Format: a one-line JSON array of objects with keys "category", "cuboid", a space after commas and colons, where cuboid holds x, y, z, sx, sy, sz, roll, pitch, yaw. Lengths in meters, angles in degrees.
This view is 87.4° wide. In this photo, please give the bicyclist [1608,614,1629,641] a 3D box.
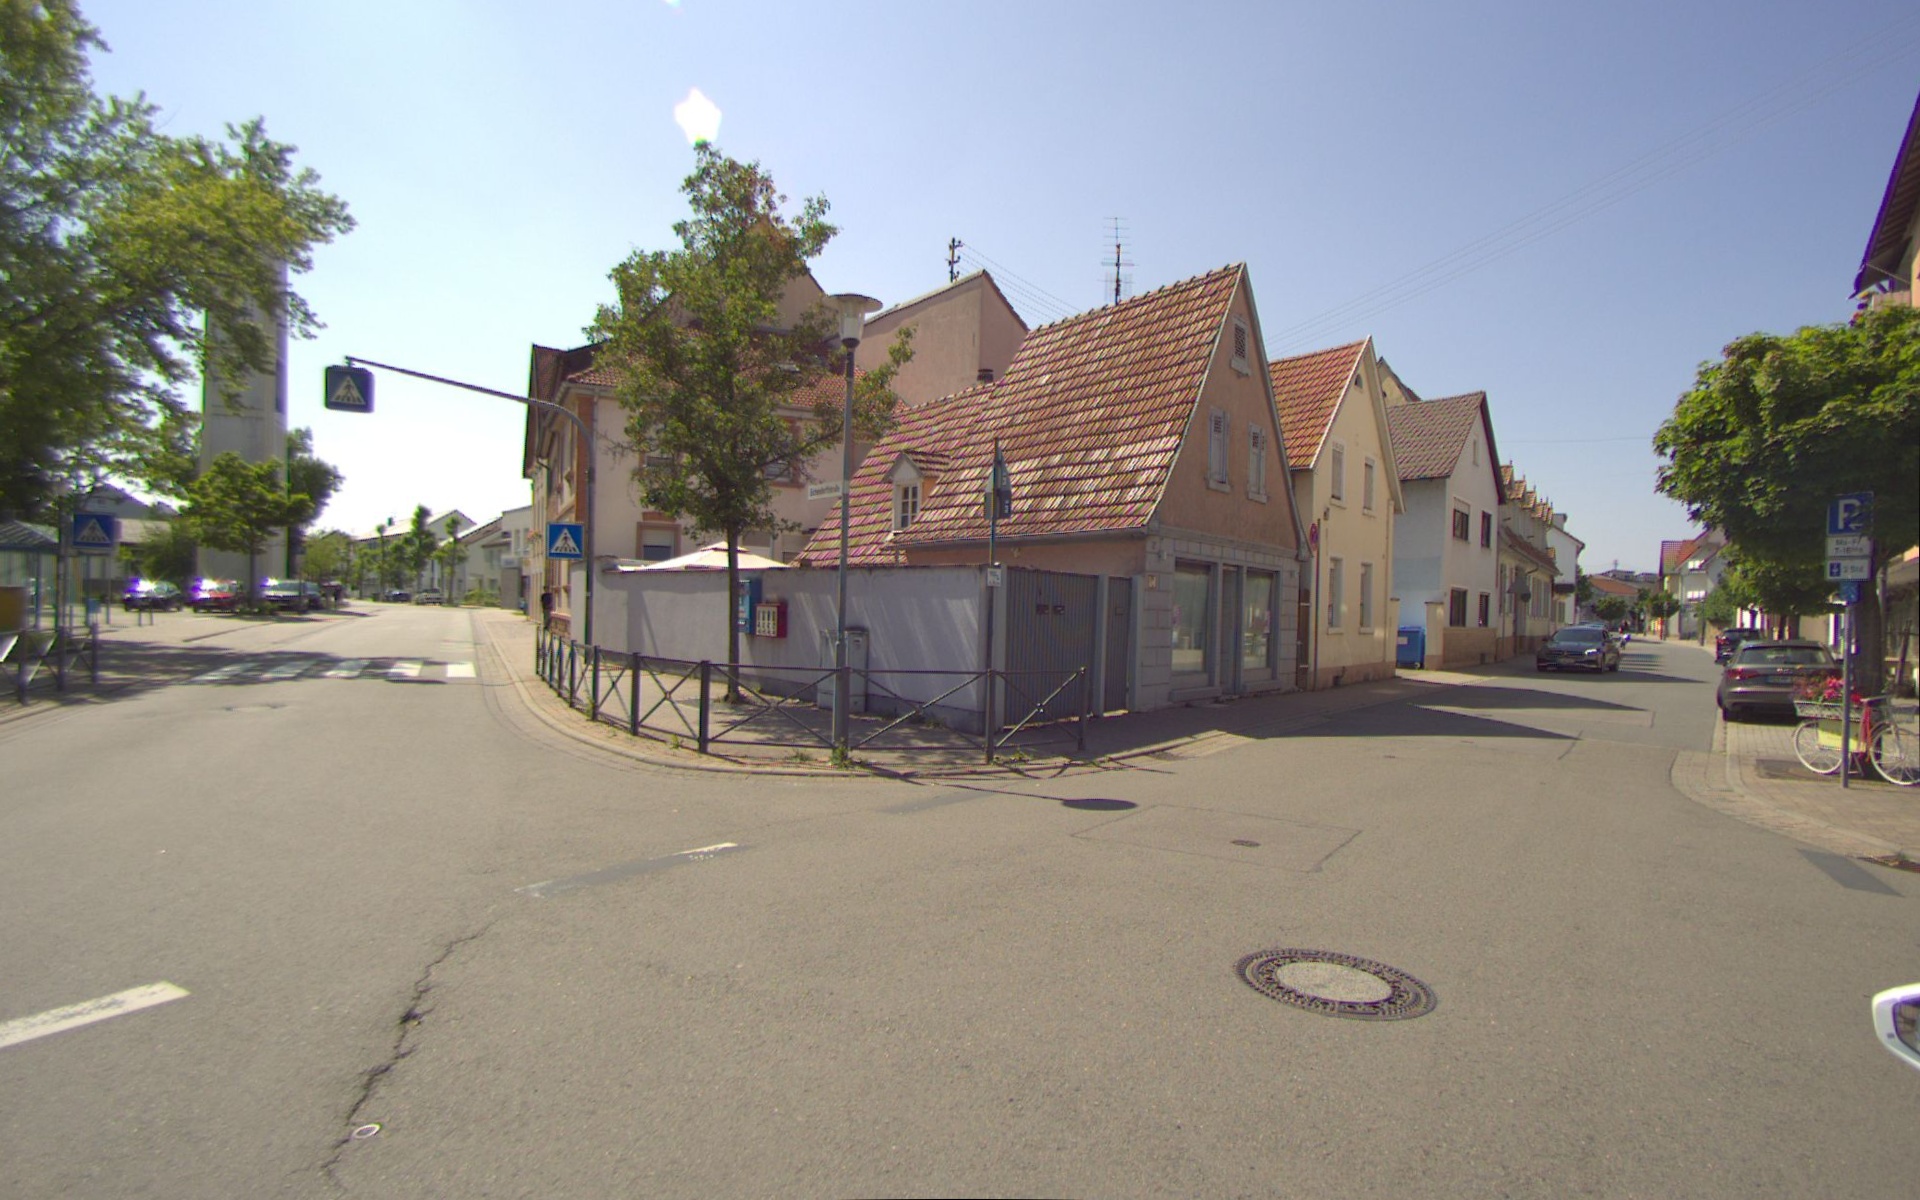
[{"category": "bicyclist", "cuboid": [40.979, 1.729, 62.502, 1.031, 1.659, 1.126, 1, -1, 31]}]

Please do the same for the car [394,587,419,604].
[{"category": "car", "cuboid": [-60.031, -0.487, 108.877, 1.765, 1.714, 3.958, 1, -1, -37]}]

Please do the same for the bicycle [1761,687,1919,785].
[{"category": "bicycle", "cuboid": [9.789, 1.471, 11.134, 0.457, 0.909, 1.410, 0, -1, -16]}]

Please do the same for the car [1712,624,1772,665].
[{"category": "car", "cuboid": [35.035, 1.941, 45.116, 2.017, 1.711, 4.823, 1, -1, 37]}]

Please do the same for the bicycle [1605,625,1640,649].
[{"category": "bicycle", "cuboid": [41.268, 2.299, 62.627, 1.600, 1.389, 3.918, 1, -1, 31]}]

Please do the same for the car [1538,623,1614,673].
[{"category": "car", "cuboid": [20.592, 1.640, 33.483, 1.884, 1.500, 4.830, 1, -3, 35]}]

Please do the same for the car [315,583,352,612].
[{"category": "car", "cuboid": [-37.034, -0.126, 59.427, 1.762, 1.667, 3.966, 1, -1, -31]}]

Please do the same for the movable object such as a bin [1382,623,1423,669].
[{"category": "movable object such as a bin", "cuboid": [13.707, 1.410, 31.095, 1.089, 1.384, 0.388, 0, -1, 41]}]

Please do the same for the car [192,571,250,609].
[{"category": "car", "cuboid": [-37.857, -0.478, 51.525, 1.759, 1.817, 3.971, 1, -1, -27]}]

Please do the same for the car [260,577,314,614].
[{"category": "car", "cuboid": [-35.273, -0.225, 52.710, 1.759, 1.817, 3.973, 3, -1, -26]}]

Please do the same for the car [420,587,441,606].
[{"category": "car", "cuboid": [-51.663, -0.304, 98.098, 1.759, 1.804, 3.971, 1, -1, -27]}]

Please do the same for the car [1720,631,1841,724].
[{"category": "car", "cuboid": [14.768, 1.313, 18.151, 1.557, 1.473, 3.471, 0, -1, 39]}]

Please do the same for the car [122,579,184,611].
[{"category": "car", "cuboid": [-39.916, -0.244, 49.749, 1.630, 1.487, 3.752, 1, -1, -27]}]
